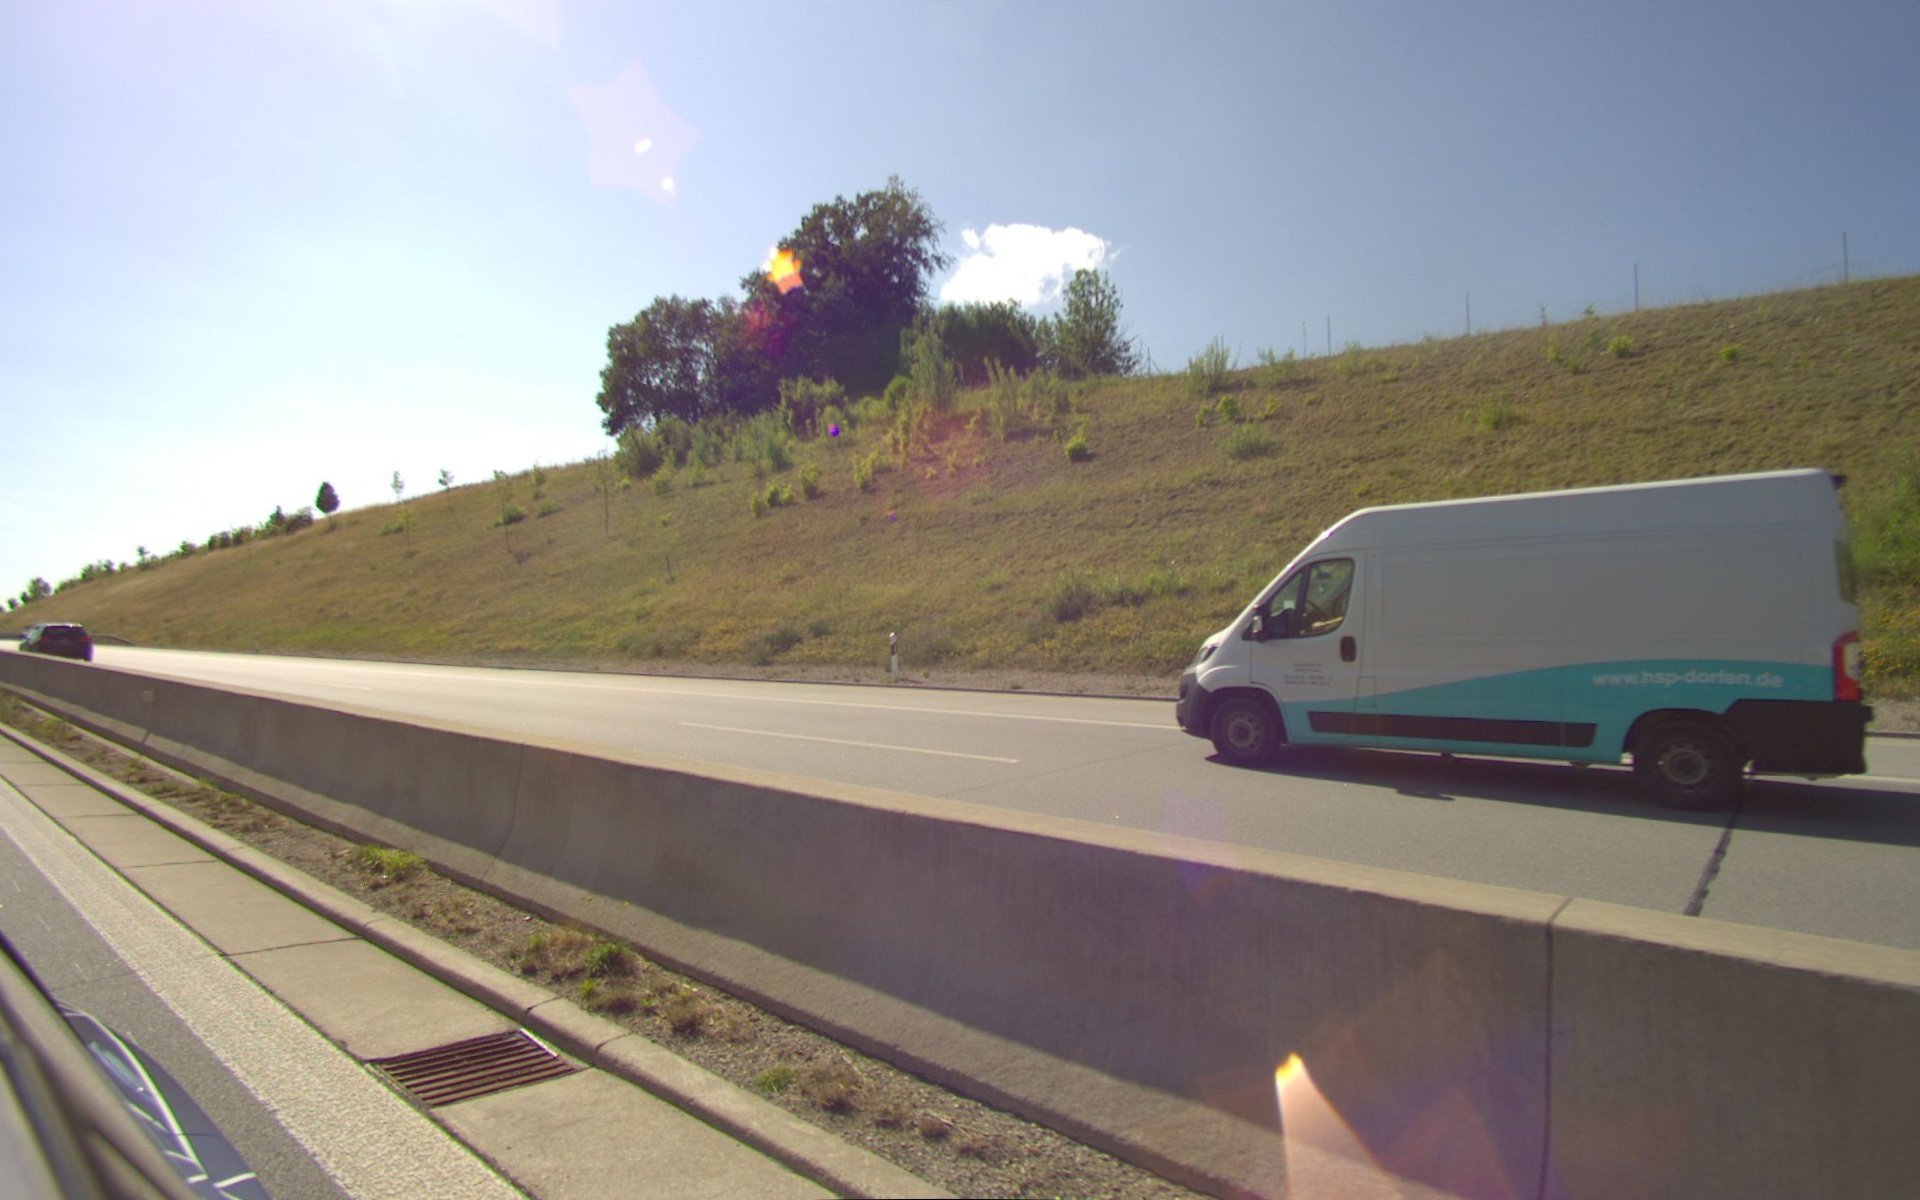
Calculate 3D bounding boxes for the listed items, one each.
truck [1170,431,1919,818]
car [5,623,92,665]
[{"bbox_3d":[4.860,0.209,8.867,5.665,2.467,1.973,-2,-1,41],"label":"truck"},{"bbox_3d":[-33.338,1.583,36.994,4.179,1.460,1.756,-1,-2,40],"label":"car"}]
